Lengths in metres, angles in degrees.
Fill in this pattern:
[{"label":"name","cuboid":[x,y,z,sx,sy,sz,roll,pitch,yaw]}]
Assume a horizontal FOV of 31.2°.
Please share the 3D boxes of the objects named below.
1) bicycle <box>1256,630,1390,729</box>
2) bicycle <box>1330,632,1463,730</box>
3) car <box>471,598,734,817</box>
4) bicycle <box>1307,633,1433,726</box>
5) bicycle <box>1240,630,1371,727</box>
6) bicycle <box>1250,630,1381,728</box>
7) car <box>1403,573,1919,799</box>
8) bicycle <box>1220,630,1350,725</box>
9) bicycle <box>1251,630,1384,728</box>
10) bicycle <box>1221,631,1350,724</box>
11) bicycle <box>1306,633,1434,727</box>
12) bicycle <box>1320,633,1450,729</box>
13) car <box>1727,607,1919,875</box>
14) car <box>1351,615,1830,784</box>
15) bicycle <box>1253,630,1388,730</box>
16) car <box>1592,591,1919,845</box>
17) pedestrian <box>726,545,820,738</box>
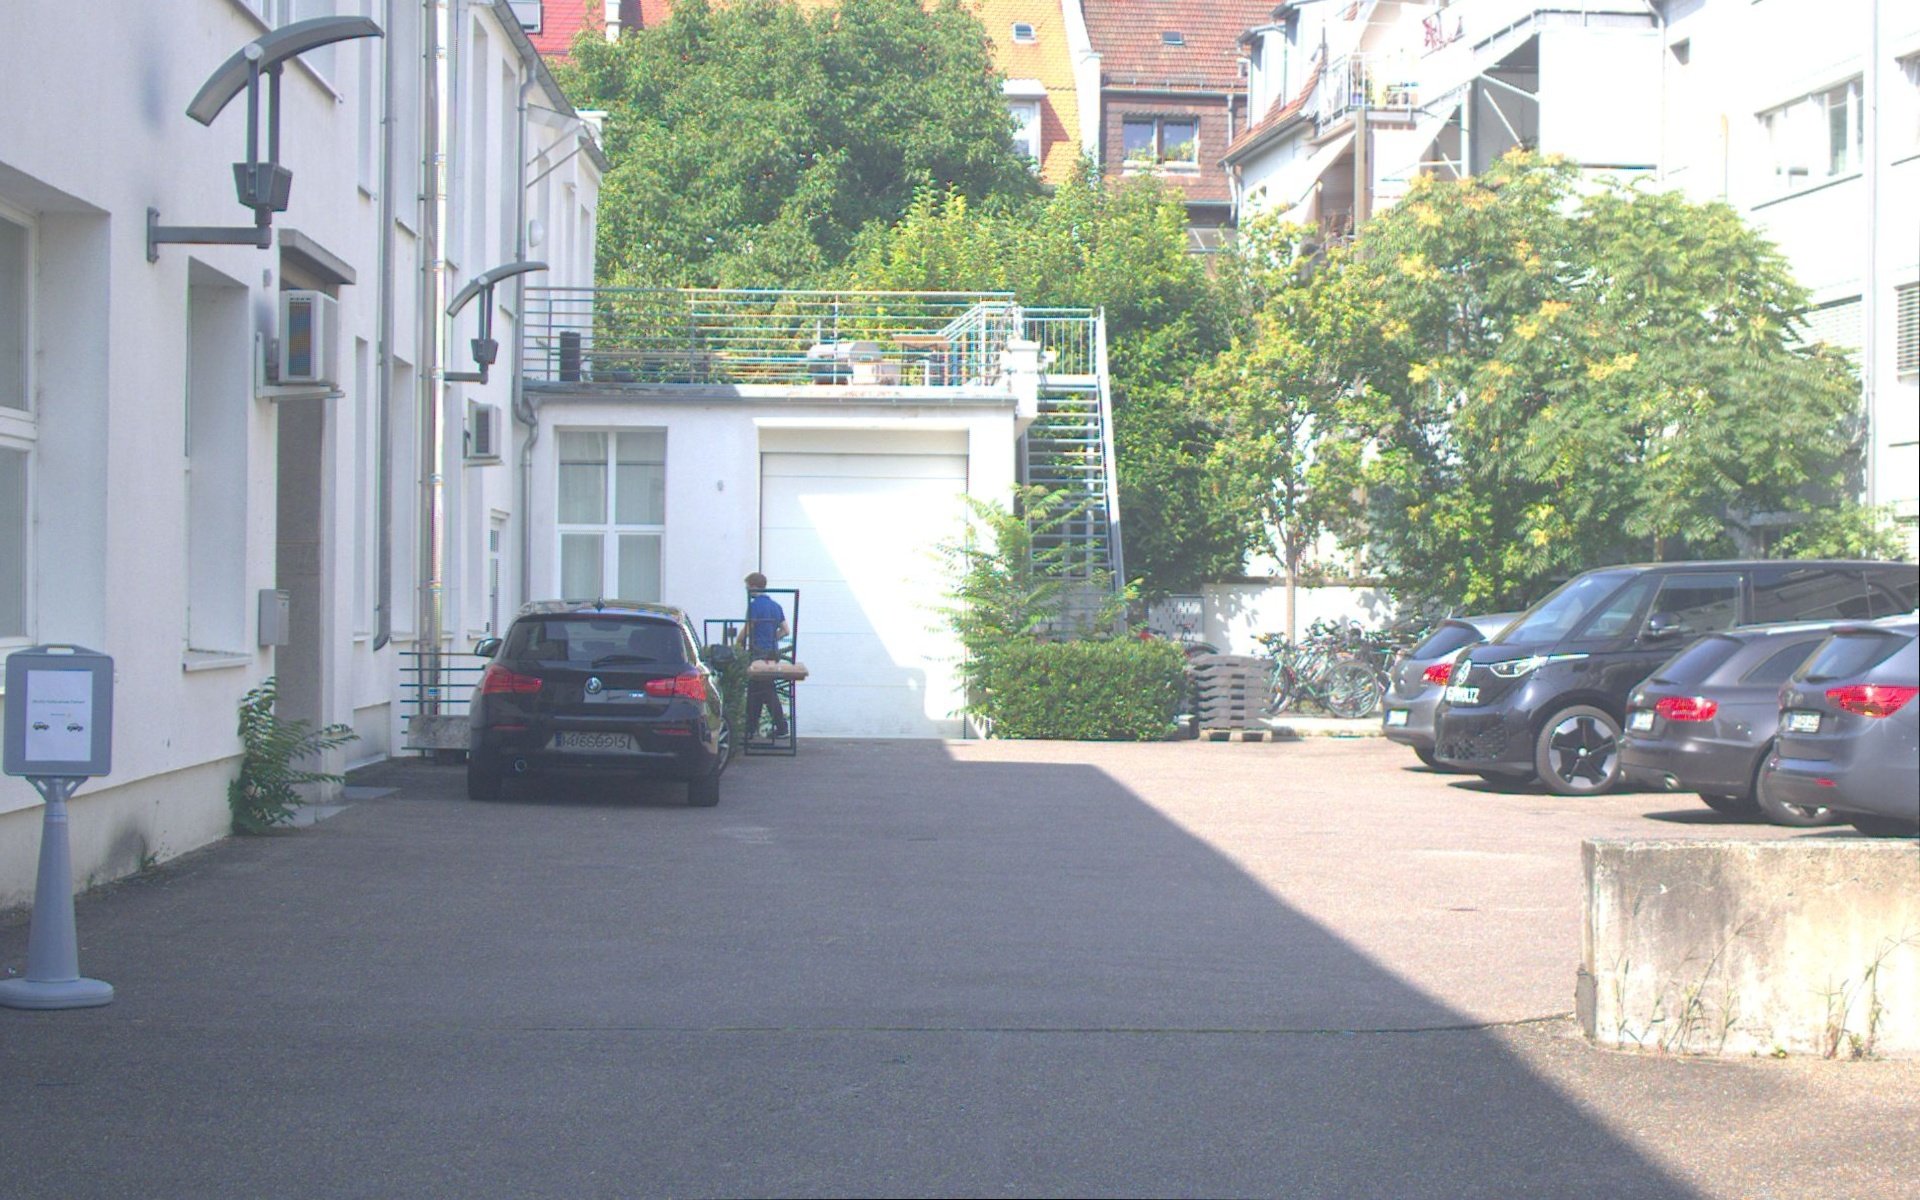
[{"label":"bicycle","cuboid":[4.479,0.982,42.470,1.623,1.210,0.327,0,0,0]},{"label":"bicycle","cuboid":[5.474,1.015,43.130,1.624,1.210,0.327,0,0,14]},{"label":"car","cuboid":[-2.557,0.755,25.320,1.688,1.454,3.923,1,-1,-3]},{"label":"bicycle","cuboid":[5.438,1.048,45.593,1.624,1.210,0.424,0,0,11]},{"label":"bicycle","cuboid":[4.381,0.994,43.578,1.624,1.210,0.327,0,0,12]},{"label":"bicycle","cuboid":[4.468,0.991,43.215,1.623,1.210,0.327,0,0,9]},{"label":"car","cuboid":[6.141,0.723,28.598,4.499,1.788,1.883,1,-1,-10]},{"label":"bicycle","cuboid":[4.177,0.999,44.252,1.623,1.210,0.424,0,0,-2]},{"label":"bicycle","cuboid":[4.443,0.985,42.764,1.623,1.210,0.327,0,0,0]},{"label":"bicycle","cuboid":[4.247,1.009,44.888,1.623,1.210,0.424,0,0,-6]},{"label":"bicycle","cuboid":[5.319,1.031,44.565,1.624,1.210,0.424,0,0,11]},{"label":"bicycle","cuboid":[5.436,1.026,43.989,1.624,1.210,0.424,0,0,12]},{"label":"car","cuboid":[7.014,0.893,21.586,3.861,1.583,1.880,1,-1,-6]},{"label":"car","cuboid":[5.737,0.912,31.476,3.931,1.477,1.775,1,-1,-10]},{"label":"bicycle","cuboid":[4.420,0.976,42.148,1.623,1.210,0.327,0,0,0]},{"label":"car","cuboid":[6.756,0.846,24.402,4.116,1.686,1.771,1,-1,-4]},{"label":"pedestrian","cuboid":[-1.988,0.438,36.629,0.913,2.007,0.935,1,-1,-1]}]
